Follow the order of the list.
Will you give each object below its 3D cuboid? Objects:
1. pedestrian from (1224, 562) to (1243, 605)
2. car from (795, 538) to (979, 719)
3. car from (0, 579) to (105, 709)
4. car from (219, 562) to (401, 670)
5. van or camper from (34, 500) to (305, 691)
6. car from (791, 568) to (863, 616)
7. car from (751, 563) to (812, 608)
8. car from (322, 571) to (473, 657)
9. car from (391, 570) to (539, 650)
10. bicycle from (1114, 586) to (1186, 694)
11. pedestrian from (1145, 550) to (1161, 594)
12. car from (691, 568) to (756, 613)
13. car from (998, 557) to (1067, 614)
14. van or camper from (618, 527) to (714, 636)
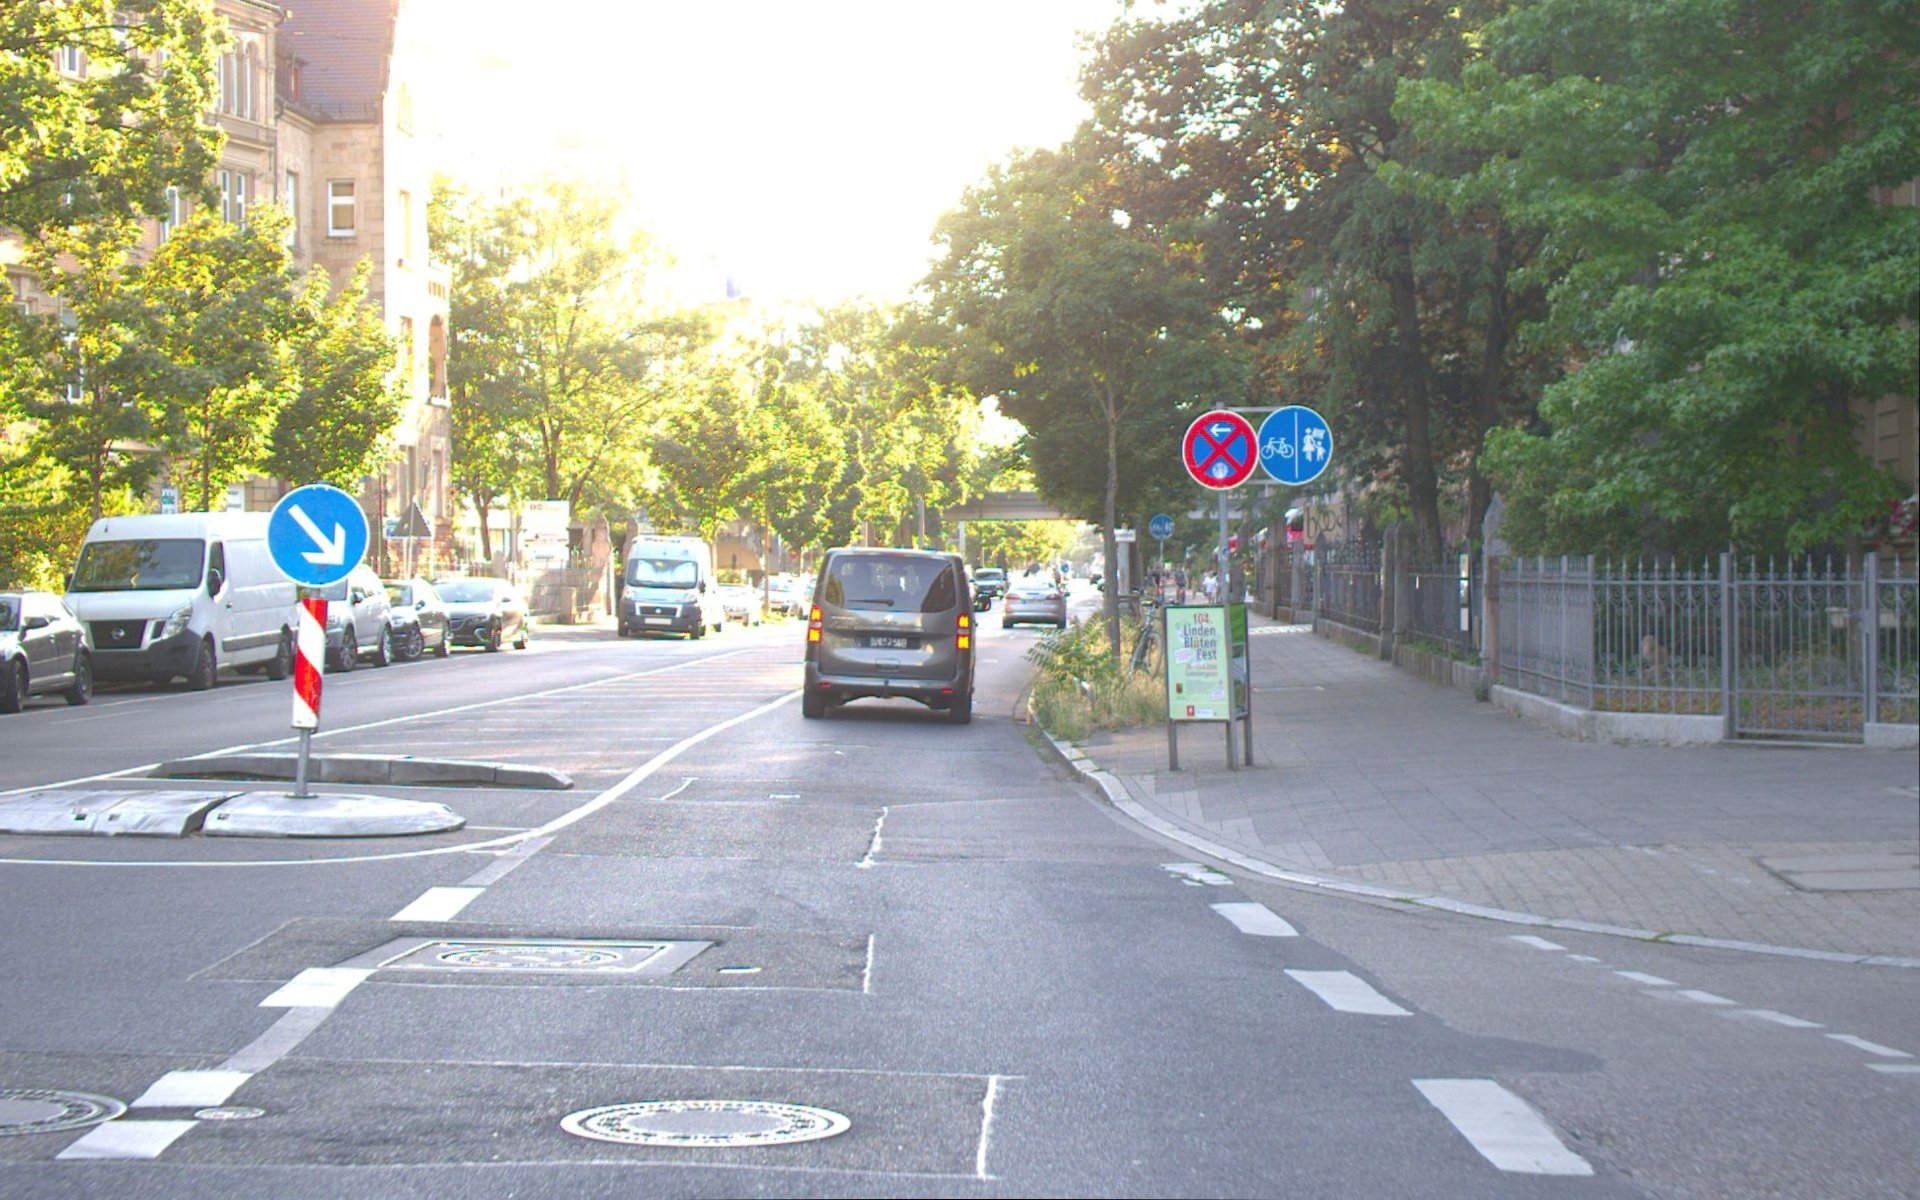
[{"bbox_3d":[10.366,-0.626,130.379,0.644,1.627,0.656,2,1,4],"label":"pedestrian"},{"bbox_3d":[-0.771,0.279,38.783,1.887,1.918,3.839,-1,1,1],"label":"car"},{"bbox_3d":[-11.514,0.499,40.539,1.628,1.424,4.242,-1,1,2],"label":"car"},{"bbox_3d":[-10.492,0.222,55.816,1.866,1.639,4.571,-1,1,3],"label":"car"},{"bbox_3d":[-11.002,-0.107,48.368,2.091,2.460,6.305,-1,1,2],"label":"van or camper"},{"bbox_3d":[-4.088,-0.259,106.445,1.766,1.397,4.544,-1,1,3],"label":"car"},{"bbox_3d":[-6.081,-0.502,117.588,1.697,1.446,4.000,2,1,2],"label":"car"},{"bbox_3d":[-9.976,0.226,61.291,1.736,1.440,4.625,0,1,3],"label":"car"},{"bbox_3d":[-9.662,0.163,67.487,1.994,1.478,4.829,0,1,3],"label":"car"},{"bbox_3d":[2.152,0.442,39.086,0.646,1.163,1.931,1,1,-1],"label":"bicycle"},{"bbox_3d":[8.469,-1.222,150.708,0.504,1.882,0.545,1,1,-11],"label":"pedestrian"},{"bbox_3d":[-7.064,-0.296,102.834,1.536,1.244,3.614,2,1,2],"label":"car"},{"bbox_3d":[2.145,-0.454,101.379,1.993,1.628,4.000,0,1,2],"label":"car"},{"bbox_3d":[-7.503,-0.493,88.333,1.993,2.659,6.039,1,1,-1],"label":"van or camper"}]
